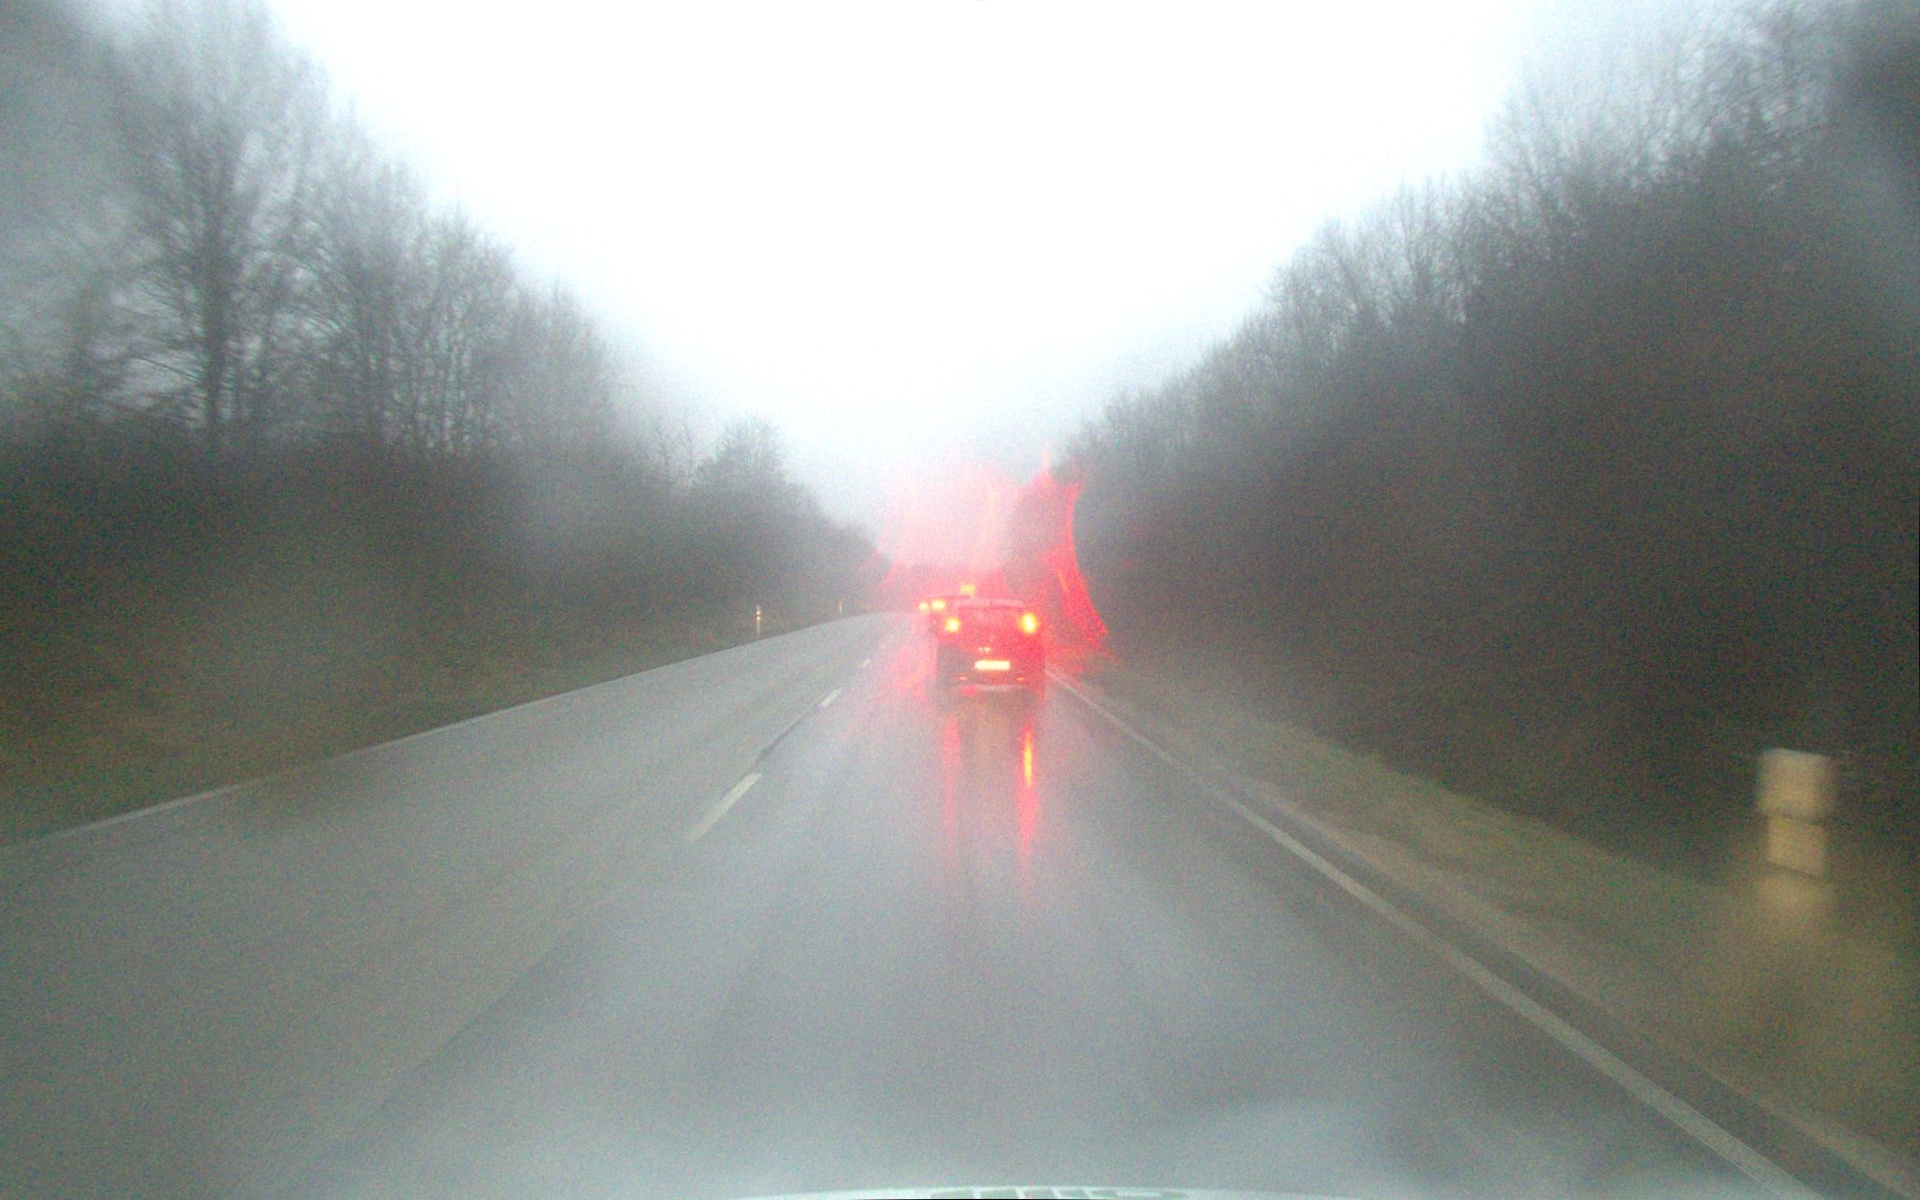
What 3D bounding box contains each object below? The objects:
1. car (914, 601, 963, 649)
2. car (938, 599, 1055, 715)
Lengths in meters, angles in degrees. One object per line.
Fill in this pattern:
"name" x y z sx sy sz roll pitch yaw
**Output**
"car" -0.749 0.886 60.175 1.692 1.672 4.000 1 0 0
"car" 0.555 0.847 26.234 1.692 1.672 4.000 1 0 0
